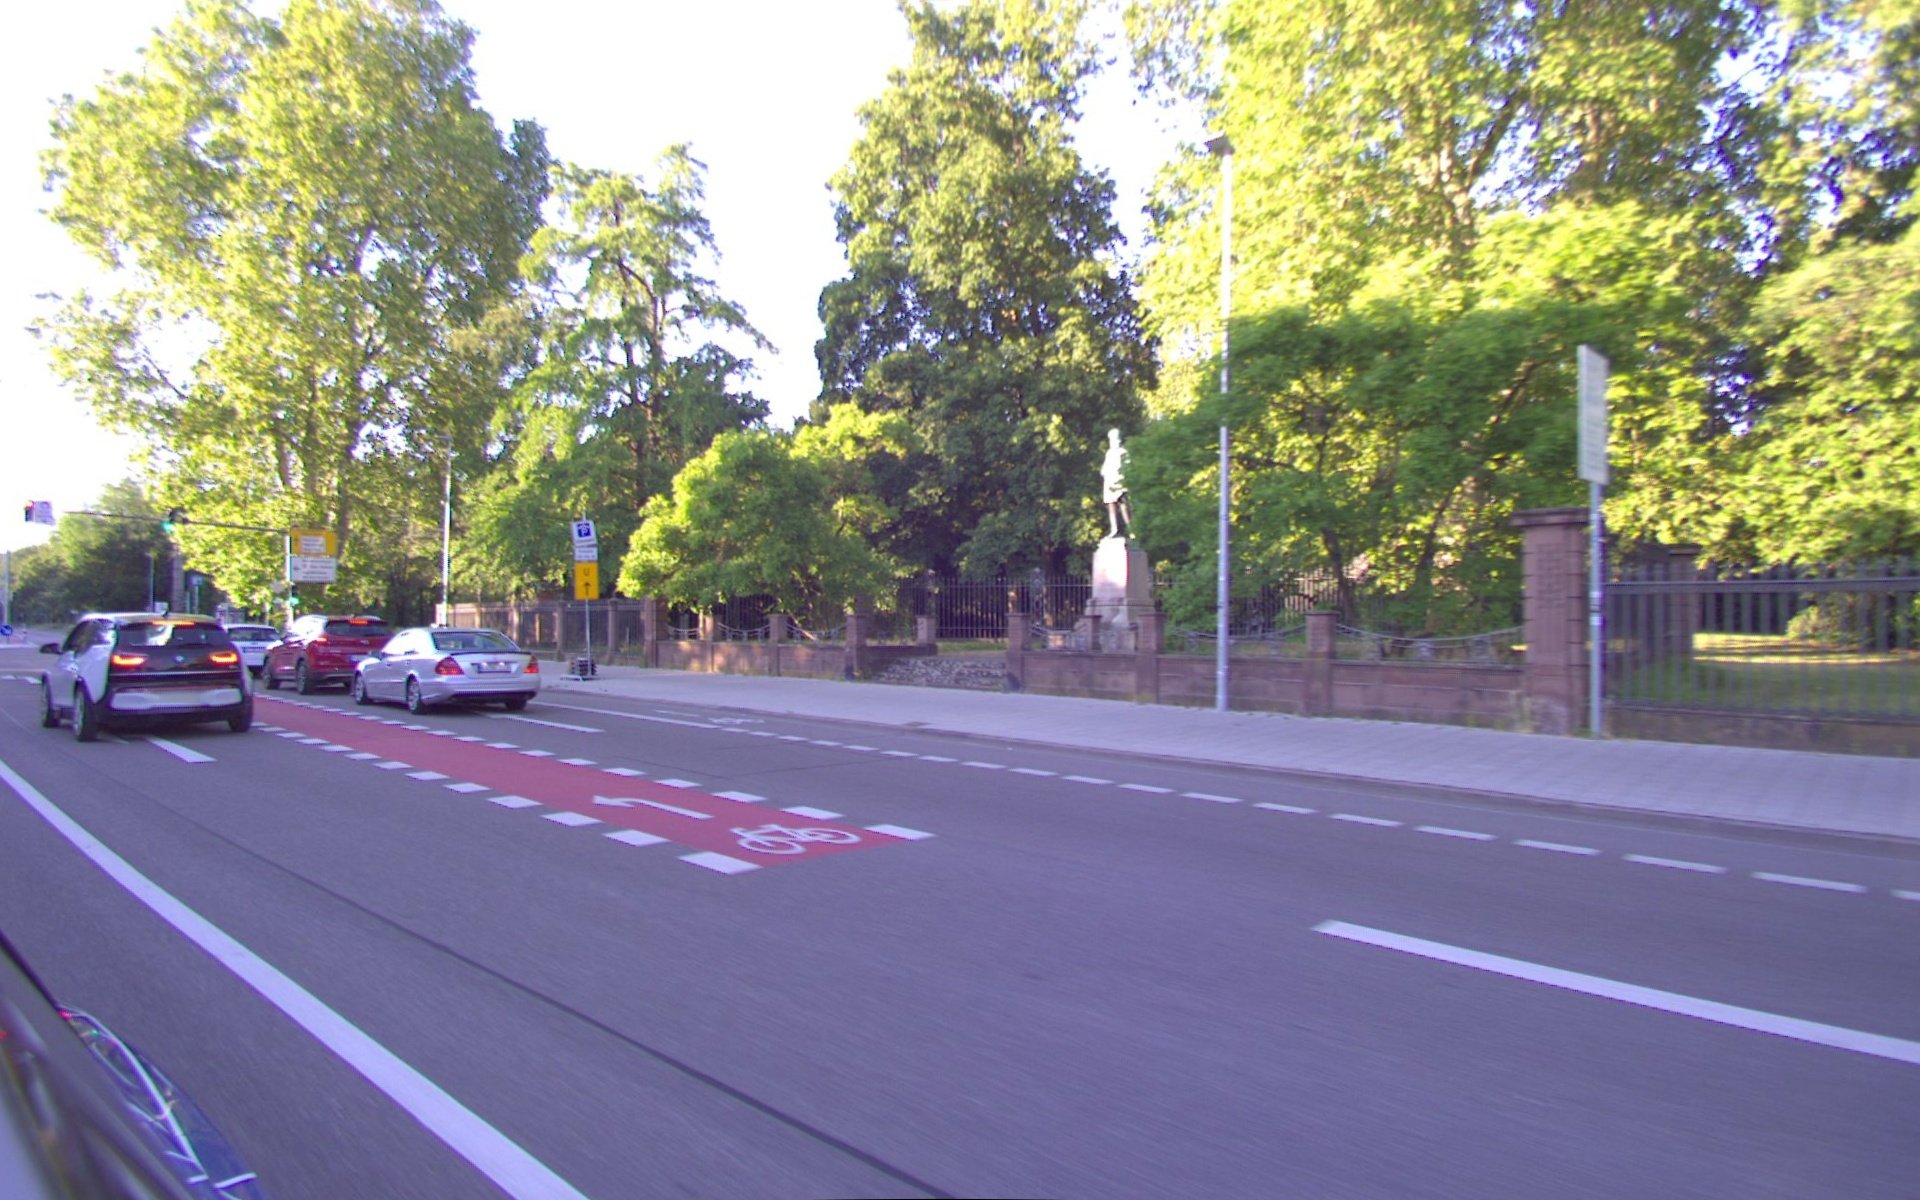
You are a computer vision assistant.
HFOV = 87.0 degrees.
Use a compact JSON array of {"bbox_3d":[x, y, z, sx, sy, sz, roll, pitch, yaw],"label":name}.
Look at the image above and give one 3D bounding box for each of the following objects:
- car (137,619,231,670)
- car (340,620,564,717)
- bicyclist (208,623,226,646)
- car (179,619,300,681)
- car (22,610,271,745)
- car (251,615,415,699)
[{"bbox_3d":[-27.393,1.555,35.669,4.427,1.708,1.895,-2,-4,43],"label":"car"},{"bbox_3d":[-8.821,1.105,17.379,4.770,1.429,1.895,-2,-4,43],"label":"car"},{"bbox_3d":[-45.544,2.105,61.997,0.780,1.438,0.893,1,-2,-43],"label":"bicyclist"},{"bbox_3d":[-20.471,1.393,28.689,4.675,1.595,1.895,-2,-4,43],"label":"car"},{"bbox_3d":[-10.996,0.957,13.597,3.996,1.538,1.830,-2,-3,40],"label":"car"},{"bbox_3d":[-13.816,1.205,22.194,4.639,1.637,1.895,-2,-4,43],"label":"car"}]
